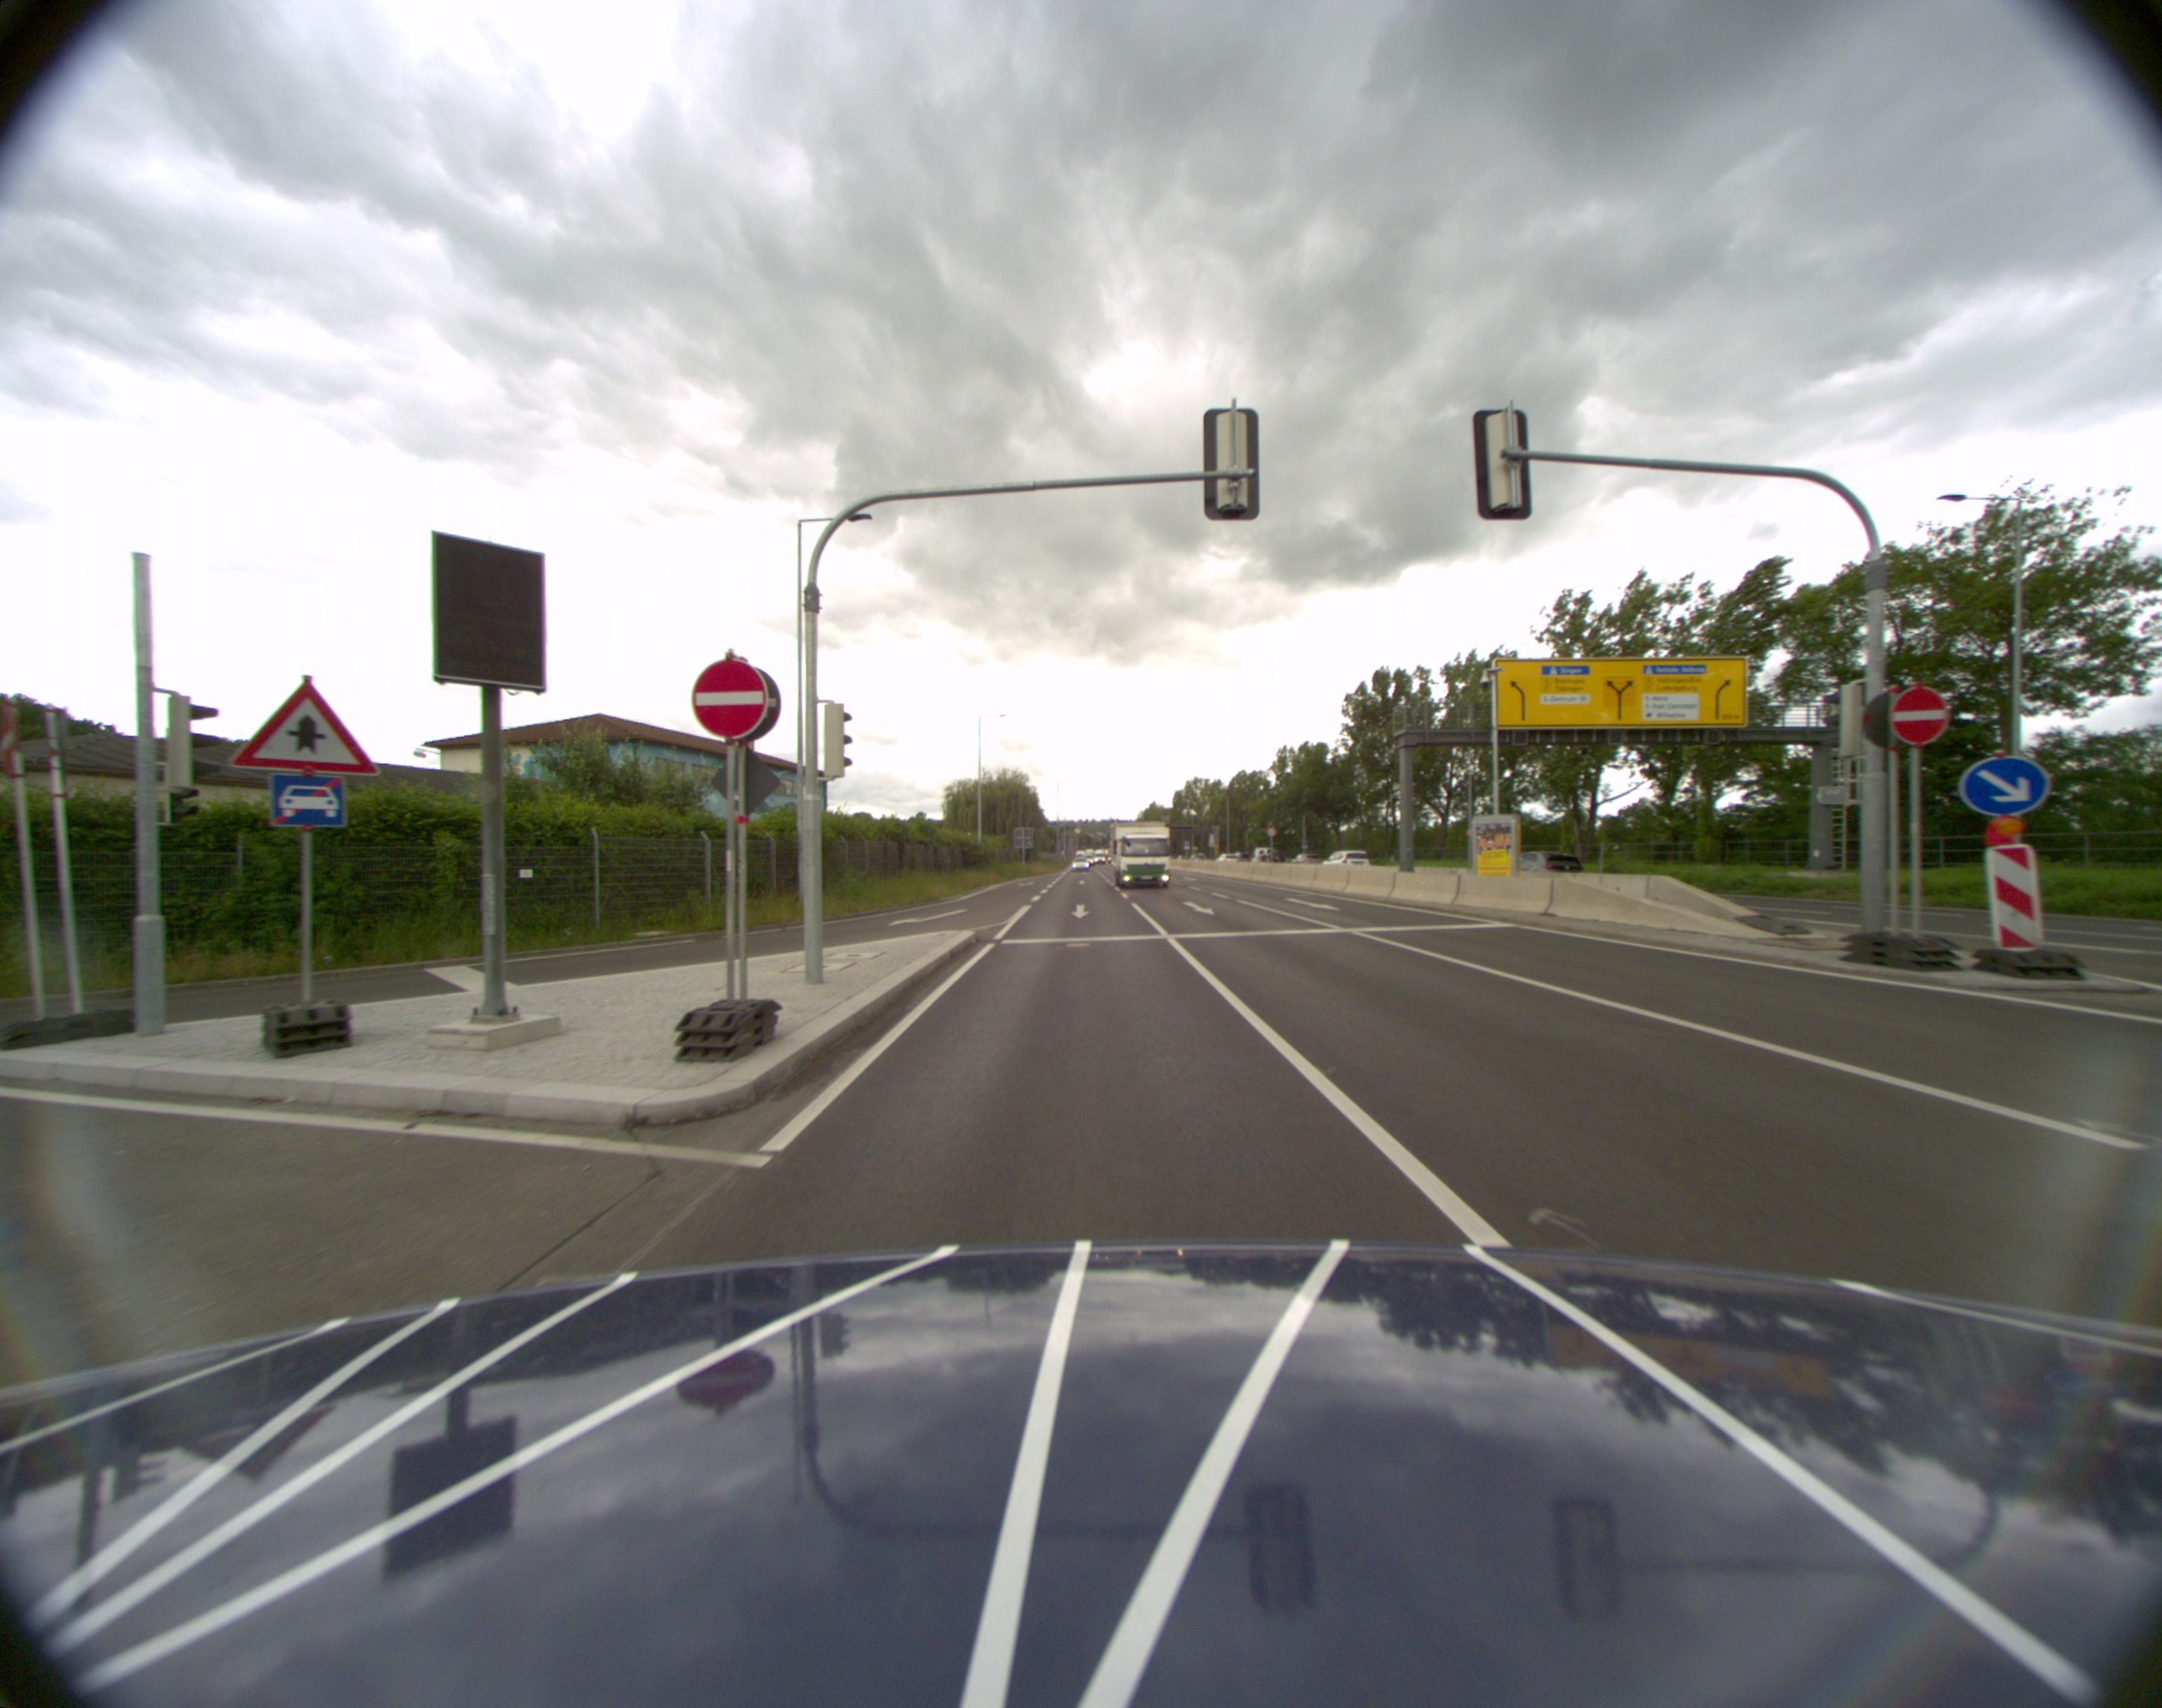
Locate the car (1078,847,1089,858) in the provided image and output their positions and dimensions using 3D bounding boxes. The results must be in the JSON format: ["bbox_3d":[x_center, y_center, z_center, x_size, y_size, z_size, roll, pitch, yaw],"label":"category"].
[{"bbox_3d":[0.427,-0.253,148.213,1.998,2.002,4.000,-3,0,0],"label":"car"}]

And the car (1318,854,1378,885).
[{"bbox_3d":[16.006,0.913,45.824,1.998,1.674,4.412,-3,0,0],"label":"car"}]

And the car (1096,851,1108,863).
[{"bbox_3d":[3.845,0.567,139.996,1.998,2.002,4.000,-3,0,0],"label":"car"}]

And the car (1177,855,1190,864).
[{"bbox_3d":[20.600,1.150,152.755,1.999,1.728,4.469,-3,0,-1],"label":"car"}]

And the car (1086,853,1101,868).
[{"bbox_3d":[1.736,0.886,109.133,1.998,2.002,4.000,-3,0,0],"label":"car"}]

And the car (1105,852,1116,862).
[{"bbox_3d":[6.016,0.643,153.954,1.998,2.002,4.000,-3,0,0],"label":"car"}]

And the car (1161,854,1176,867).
[{"bbox_3d":[14.690,1.059,127.522,1.998,2.002,4.681,-3,0,0],"label":"car"}]

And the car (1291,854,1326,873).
[{"bbox_3d":[21.830,0.876,73.036,1.998,1.674,4.412,-3,0,0],"label":"car"}]

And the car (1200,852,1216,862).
[{"bbox_3d":[21.897,0.474,131.056,1.882,1.673,4.122,-3,0,0],"label":"car"}]

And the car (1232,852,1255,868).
[{"bbox_3d":[21.928,0.746,102.421,1.998,2.002,4.937,-3,0,0],"label":"car"}]

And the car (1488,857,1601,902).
[{"bbox_3d":[19.047,1.031,31.486,1.998,1.646,4.289,-3,-2,0],"label":"car"}]

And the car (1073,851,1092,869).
[{"bbox_3d":[0.163,0.631,81.687,1.998,1.849,4.000,-3,0,0],"label":"car"}]

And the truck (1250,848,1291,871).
[{"bbox_3d":[18.537,0.531,74.638,2.210,2.002,6.301,-3,0,-1],"label":"truck"}]

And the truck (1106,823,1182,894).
[{"bbox_3d":[2.986,0.252,38.396,2.943,3.064,8.387,-3,0,-1],"label":"truck"}]

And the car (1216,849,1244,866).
[{"bbox_3d":[15.649,0.388,79.941,1.998,1.658,4.695,-3,0,0],"label":"car"}]

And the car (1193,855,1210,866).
[{"bbox_3d":[18.497,0.982,116.844,1.882,1.673,4.126,-3,0,0],"label":"car"}]
